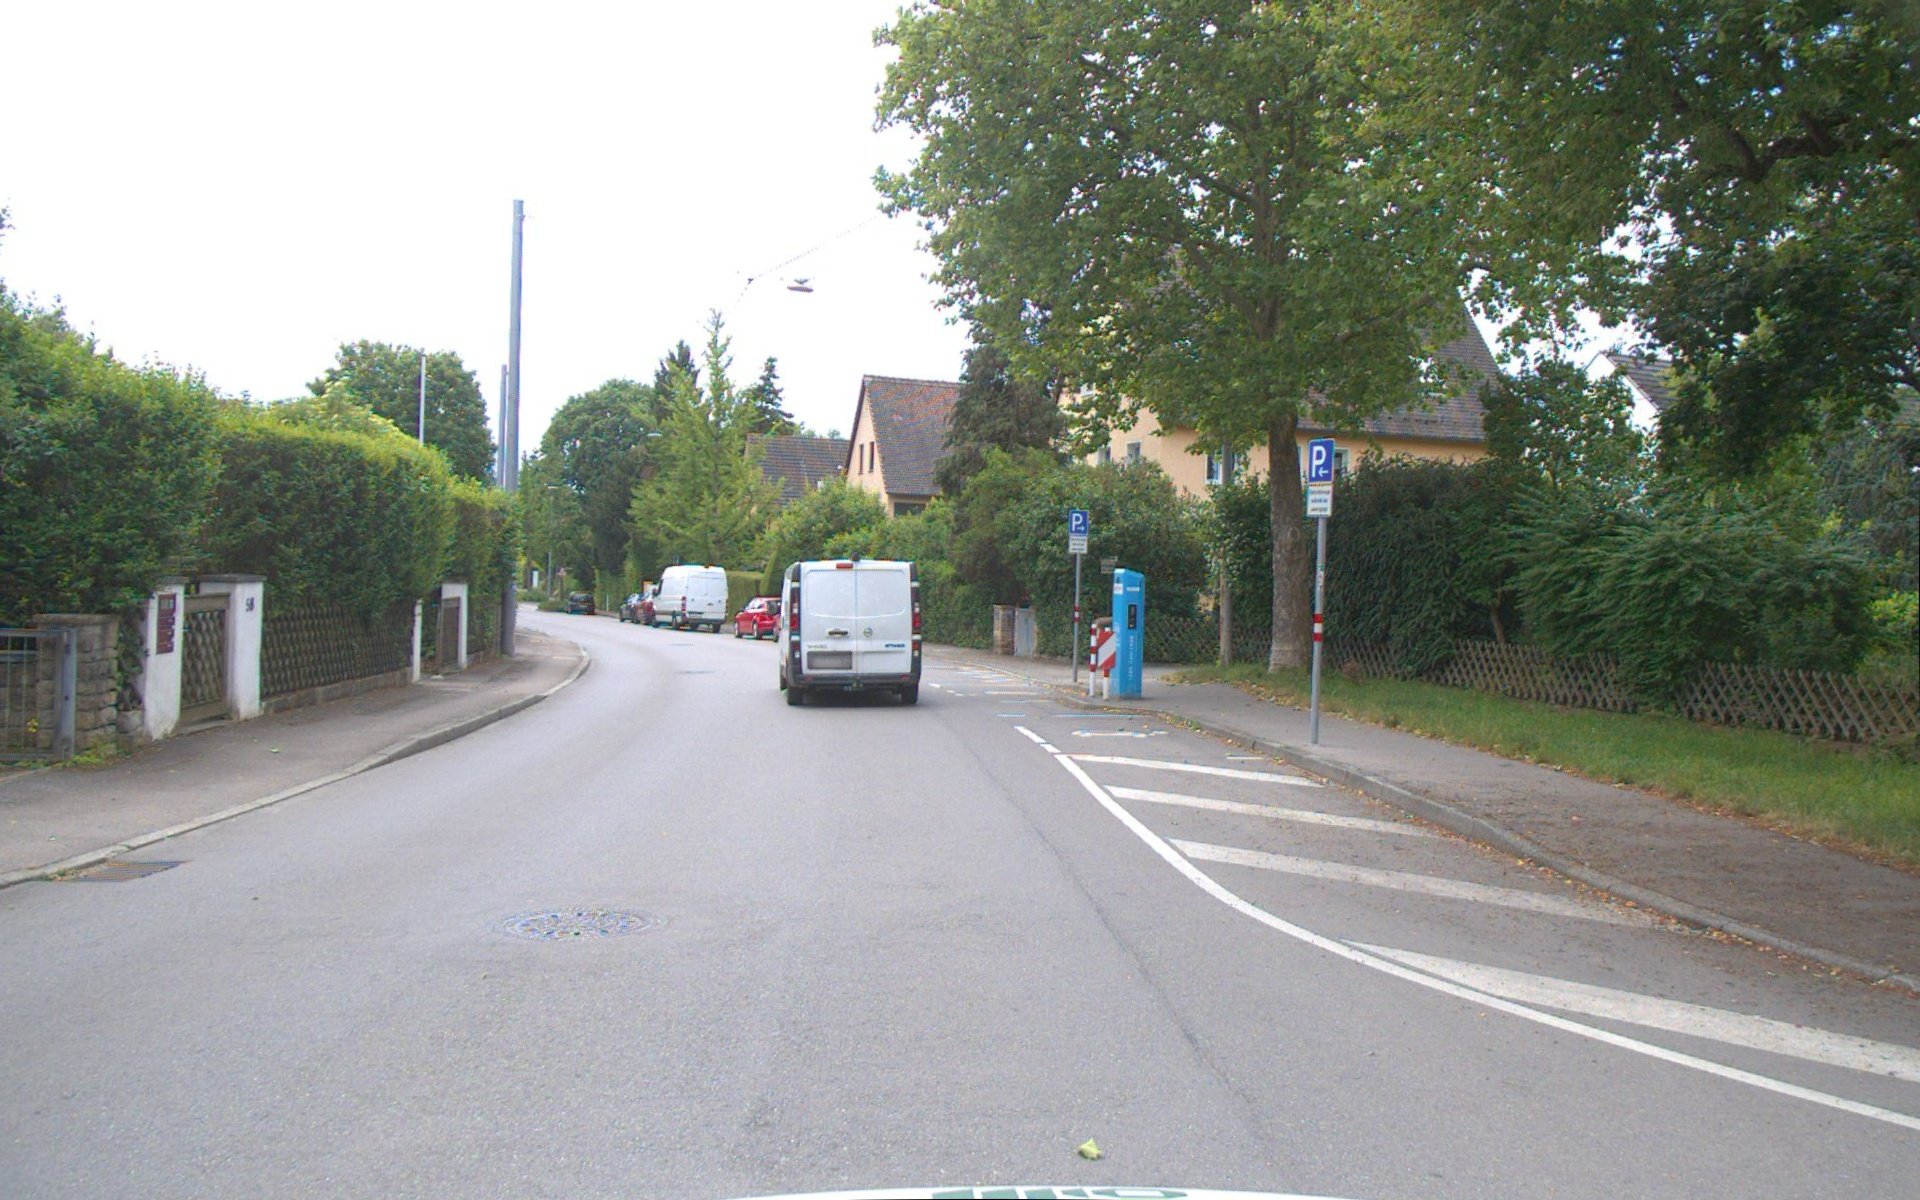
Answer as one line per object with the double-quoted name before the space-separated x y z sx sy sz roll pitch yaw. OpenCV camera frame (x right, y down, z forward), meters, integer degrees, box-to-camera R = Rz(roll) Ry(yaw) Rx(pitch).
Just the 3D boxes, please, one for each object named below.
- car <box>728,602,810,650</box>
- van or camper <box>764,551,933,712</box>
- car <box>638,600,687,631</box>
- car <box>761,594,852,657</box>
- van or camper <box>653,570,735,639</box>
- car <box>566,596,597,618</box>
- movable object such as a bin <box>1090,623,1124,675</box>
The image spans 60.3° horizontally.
"car" -6.595 0.868 56.787 1.689 1.493 4.239 2 0 -22
"van or camper" -1.755 0.360 24.311 1.889 2.048 4.818 2 2 -10
"car" -13.878 0.716 76.995 1.508 1.327 4.006 2 0 -21
"car" -4.874 0.759 51.918 1.734 1.828 4.923 2 0 -18
"van or camper" -11.281 0.171 69.704 2.038 2.721 6.287 2 -1 -22
"car" -24.722 0.449 107.844 1.509 1.327 3.207 2 0 -21
"movable object such as a bin" 3.170 1.052 35.651 0.592 1.088 0.568 2 -1 -5
